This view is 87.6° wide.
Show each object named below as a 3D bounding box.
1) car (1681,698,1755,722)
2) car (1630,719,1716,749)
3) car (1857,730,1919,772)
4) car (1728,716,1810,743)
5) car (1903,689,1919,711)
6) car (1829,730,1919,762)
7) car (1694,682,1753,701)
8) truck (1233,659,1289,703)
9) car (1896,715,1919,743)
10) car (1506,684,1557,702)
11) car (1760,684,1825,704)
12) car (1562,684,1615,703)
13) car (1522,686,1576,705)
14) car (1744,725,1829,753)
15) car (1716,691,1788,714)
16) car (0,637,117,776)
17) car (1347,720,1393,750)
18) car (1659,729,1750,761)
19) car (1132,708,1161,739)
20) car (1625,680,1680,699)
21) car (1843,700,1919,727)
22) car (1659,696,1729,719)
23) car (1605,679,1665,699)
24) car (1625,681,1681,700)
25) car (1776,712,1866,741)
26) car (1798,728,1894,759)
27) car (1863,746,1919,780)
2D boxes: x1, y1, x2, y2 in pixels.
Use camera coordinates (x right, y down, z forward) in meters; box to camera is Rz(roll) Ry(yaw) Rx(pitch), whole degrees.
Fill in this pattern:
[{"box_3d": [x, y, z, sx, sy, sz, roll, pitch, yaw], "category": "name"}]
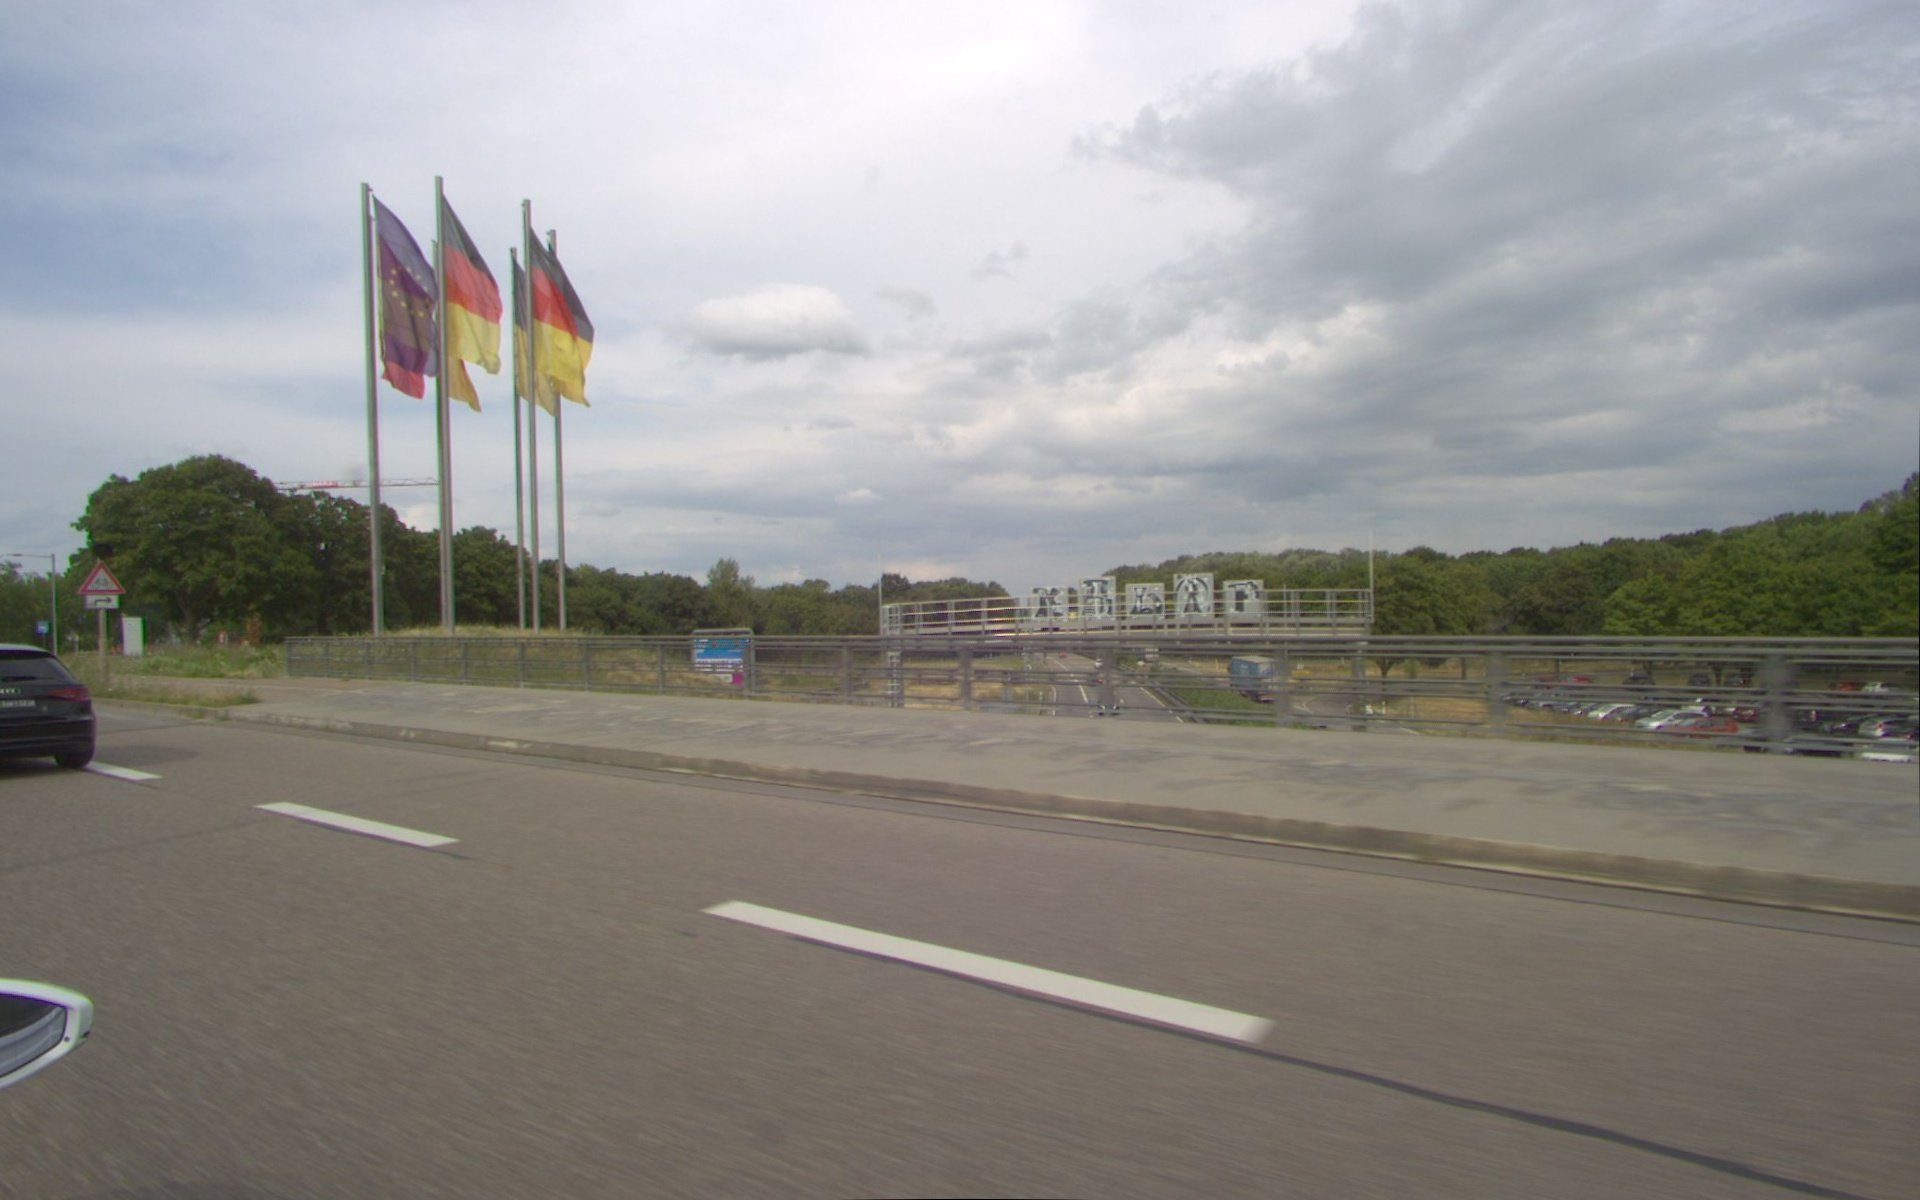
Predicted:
[{"box_3d": [57.019, 8.272, 75.396, 3.926, 1.594, 1.999, 0, -2, 14], "category": "car"}, {"box_3d": [44.933, 8.446, 63.203, 3.926, 1.594, 1.999, 0, -2, 14], "category": "car"}, {"box_3d": [44.830, 7.238, 48.312, 3.960, 1.594, 1.982, 2, -2, -43], "category": "car"}, {"box_3d": [56.487, 9.003, 69.982, 3.926, 1.594, 1.999, 0, -2, 14], "category": "car"}, {"box_3d": [76.224, 7.785, 77.725, 3.925, 1.594, 1.999, 0, -2, 13], "category": "car"}, {"box_3d": [54.104, 8.590, 58.944, 3.926, 1.594, 1.999, 0, -2, 14], "category": "car"}, {"box_3d": [71.139, 8.536, 93.372, 3.926, 1.594, 1.999, 0, -2, 14], "category": "car"}, {"box_3d": [30.268, 8.035, 101.294, 3.293, 3.664, 13.997, 0, -2, 8], "category": "truck"}, {"box_3d": [62.099, 8.150, 63.185, 3.926, 1.594, 1.999, 0, -2, 14], "category": "car"}, {"box_3d": [55.682, 9.046, 97.678, 3.926, 1.594, 1.999, 0, -2, 14], "category": "car"}, {"box_3d": [74.188, 8.410, 89.320, 3.926, 1.594, 1.999, 0, -2, 14], "category": "car"}, {"box_3d": [60.851, 9.037, 96.986, 3.926, 1.594, 1.999, 0, -2, 14], "category": "car"}, {"box_3d": [54.771, 8.897, 93.197, 3.926, 1.594, 1.999, 0, -2, 14], "category": "car"}, {"box_3d": [55.812, 9.396, 67.684, 3.926, 1.594, 1.999, 0, -2, 14], "category": "car"}, {"box_3d": [62.342, 8.072, 78.910, 3.926, 1.594, 1.999, 0, -2, 14], "category": "car"}, {"box_3d": [-11.446, 1.142, 11.354, 4.056, 1.412, 1.728, -2, -3, 32], "category": "car"}, {"box_3d": [27.825, 9.114, 68.044, 1.725, 1.616, 4.002, 0, -2, 4], "category": "car"}, {"box_3d": [44.918, 8.758, 60.483, 3.926, 1.594, 1.999, 0, -2, 14], "category": "car"}, {"box_3d": [14.337, 9.496, 77.264, 1.961, 2.039, 4.001, 0, -2, 7], "category": "car"}, {"box_3d": [66.871, 8.638, 96.773, 3.926, 1.594, 1.999, 0, -2, 14], "category": "car"}, {"box_3d": [62.907, 7.710, 67.978, 3.926, 1.594, 1.999, 0, -2, 14], "category": "car"}, {"box_3d": [57.388, 8.371, 78.340, 3.926, 1.594, 1.999, 0, -2, 14], "category": "car"}, {"box_3d": [59.175, 7.780, 87.879, 3.926, 1.594, 1.999, 0, -2, 14], "category": "car"}, {"box_3d": [66.481, 8.653, 96.075, 3.926, 1.594, 1.999, 0, -2, 14], "category": "car"}, {"box_3d": [55.660, 8.188, 64.817, 3.926, 1.594, 1.999, 0, -2, 14], "category": "car"}, {"box_3d": [54.745, 8.871, 61.960, 3.926, 1.594, 1.999, 0, -2, 14], "category": "car"}, {"box_3d": [52.798, 9.003, 55.245, 3.926, 1.594, 1.999, 0, -2, 14], "category": "car"}]
